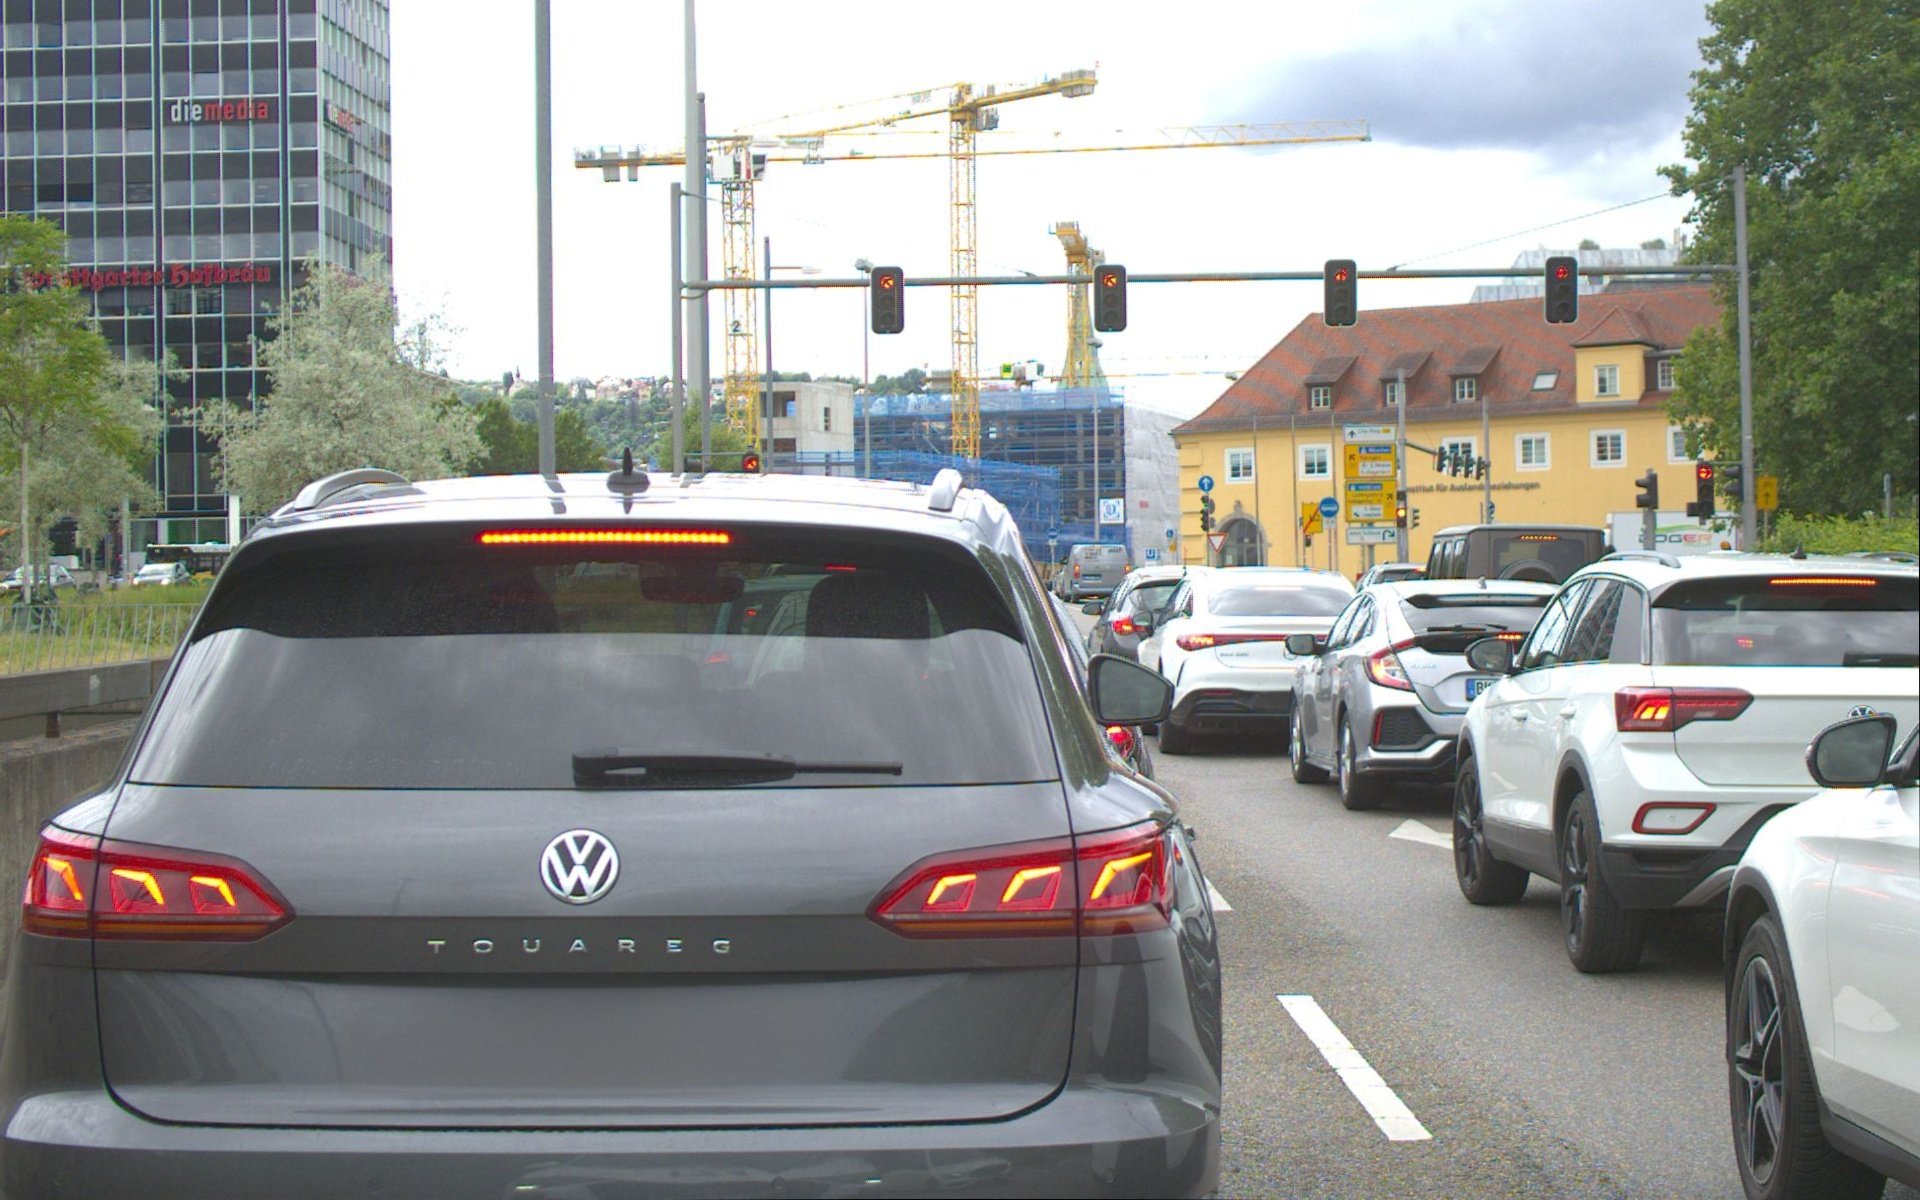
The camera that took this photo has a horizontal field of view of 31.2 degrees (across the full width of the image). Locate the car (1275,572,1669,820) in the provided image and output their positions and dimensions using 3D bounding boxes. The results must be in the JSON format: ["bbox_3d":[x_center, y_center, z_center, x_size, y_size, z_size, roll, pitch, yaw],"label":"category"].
[{"bbox_3d":[3.177,0.553,22.210,1.926,1.427,4.489,0,0,1],"label":"car"}]

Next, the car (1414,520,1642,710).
[{"bbox_3d":[6.396,0.156,39.123,1.910,2.007,4.012,1,0,0],"label":"car"}]

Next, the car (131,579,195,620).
[{"bbox_3d":[-30.665,-0.006,132.270,1.732,1.489,3.595,1,-1,-2],"label":"car"}]

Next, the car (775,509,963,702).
[{"bbox_3d":[-0.995,0.034,38.571,1.951,2.011,3.931,1,1,-1],"label":"car"}]

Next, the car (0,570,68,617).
[{"bbox_3d":[-30.767,-0.200,113.692,1.732,1.489,3.595,1,-1,-2],"label":"car"}]

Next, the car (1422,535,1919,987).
[{"bbox_3d":[3.129,0.551,14.045,1.926,1.545,4.489,0,0,1],"label":"car"}]

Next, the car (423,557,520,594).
[{"bbox_3d":[-21.723,-1.096,152.826,4.222,1.598,1.749,1,0,36],"label":"car"}]

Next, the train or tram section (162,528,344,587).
[{"bbox_3d":[-38.759,-2.335,188.256,10.411,2.999,2.592,1,-1,28],"label":"train or tram section"}]

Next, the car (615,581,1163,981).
[{"bbox_3d":[-0.286,0.646,14.411,1.951,1.379,3.931,1,1,-1],"label":"car"}]

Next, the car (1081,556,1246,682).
[{"bbox_3d":[2.558,0.228,44.043,1.926,1.524,4.047,0,0,1],"label":"car"}]

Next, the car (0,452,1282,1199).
[{"bbox_3d":[-0.568,0.601,6.673,1.951,1.646,4.000,0,1,-1],"label":"car"}]

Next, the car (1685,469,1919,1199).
[{"bbox_3d":[2.729,0.583,6.241,1.926,1.648,4.490,0,1,1],"label":"car"}]

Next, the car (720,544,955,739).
[{"bbox_3d":[-1.066,0.329,31.038,1.951,1.594,3.931,1,1,-1],"label":"car"}]

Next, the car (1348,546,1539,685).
[{"bbox_3d":[6.231,0.188,44.704,1.910,1.691,4.012,1,0,0],"label":"car"}]

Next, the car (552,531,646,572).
[{"bbox_3d":[-18.486,-2.473,175.943,4.454,2.007,1.996,1,-1,34],"label":"car"}]

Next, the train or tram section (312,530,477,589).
[{"bbox_3d":[-30.238,-2.169,183.687,8.935,2.999,2.592,1,-1,28],"label":"train or tram section"}]

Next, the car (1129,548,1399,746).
[{"bbox_3d":[2.469,0.362,28.935,1.926,1.524,4.489,0,0,1],"label":"car"}]

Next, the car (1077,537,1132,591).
[{"bbox_3d":[4.667,-1.164,111.453,1.619,1.622,4.000,1,-1,0],"label":"car"}]

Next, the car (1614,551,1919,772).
[{"bbox_3d":[6.696,0.425,27.634,1.993,1.634,4.305,0,1,-1],"label":"car"}]

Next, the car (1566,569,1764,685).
[{"bbox_3d":[9.345,0.343,45.793,1.757,1.442,3.634,1,0,-2],"label":"car"}]

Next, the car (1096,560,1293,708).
[{"bbox_3d":[2.515,0.349,37.756,1.926,1.524,4.047,0,0,1],"label":"car"}]
